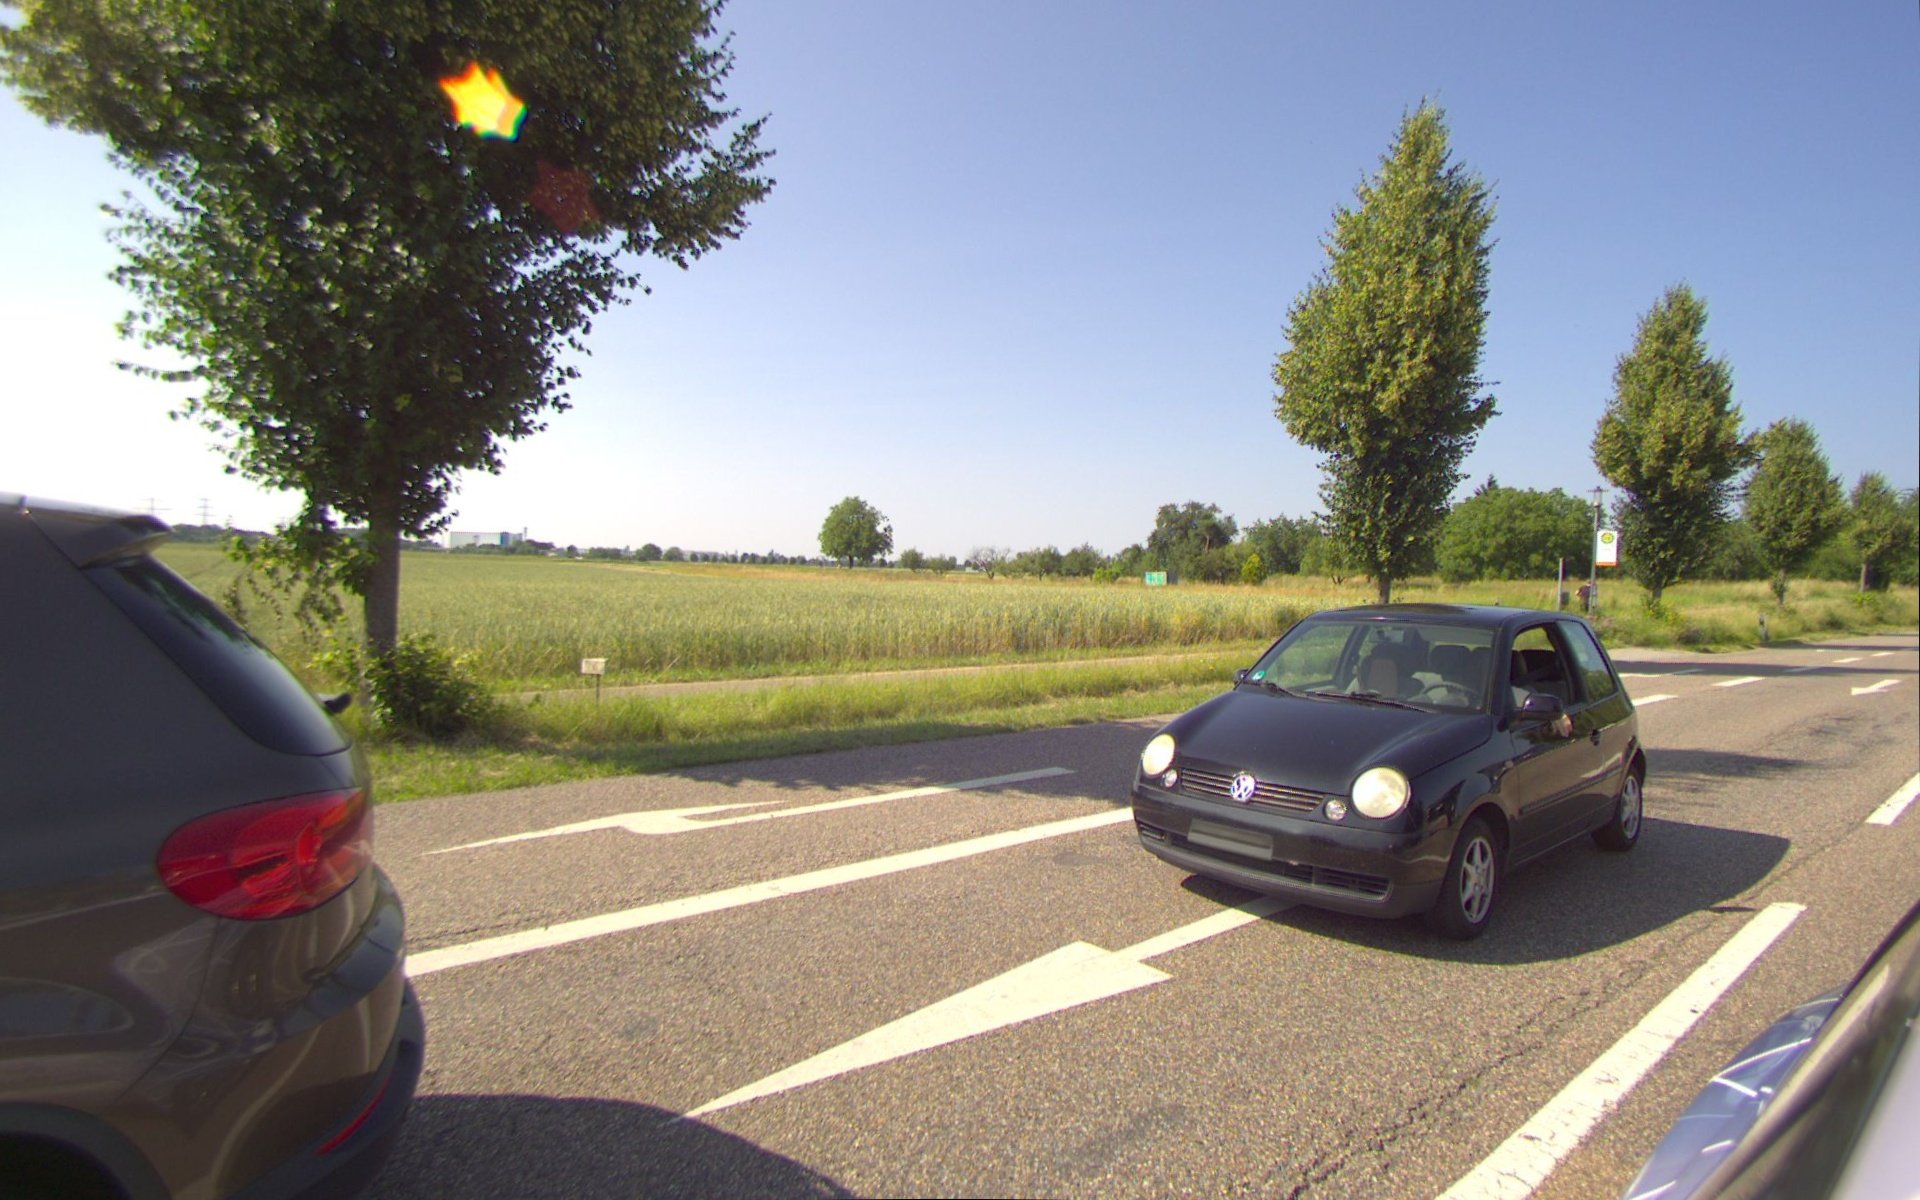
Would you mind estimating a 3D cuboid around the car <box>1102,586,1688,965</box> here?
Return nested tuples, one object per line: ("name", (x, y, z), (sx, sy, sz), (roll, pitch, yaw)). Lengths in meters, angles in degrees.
("car", (2.594, 0.660, 5.669), (3.559, 1.451, 1.628), (0, 0, -41))

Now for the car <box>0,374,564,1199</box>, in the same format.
("car", (-2.791, 0.549, 1.087), (4.075, 1.676, 1.758), (0, 0, -42))

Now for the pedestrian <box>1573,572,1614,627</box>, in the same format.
("pedestrian", (22.383, -0.028, 35.767), (1.174, 1.862, 0.903), (0, 2, -43))
